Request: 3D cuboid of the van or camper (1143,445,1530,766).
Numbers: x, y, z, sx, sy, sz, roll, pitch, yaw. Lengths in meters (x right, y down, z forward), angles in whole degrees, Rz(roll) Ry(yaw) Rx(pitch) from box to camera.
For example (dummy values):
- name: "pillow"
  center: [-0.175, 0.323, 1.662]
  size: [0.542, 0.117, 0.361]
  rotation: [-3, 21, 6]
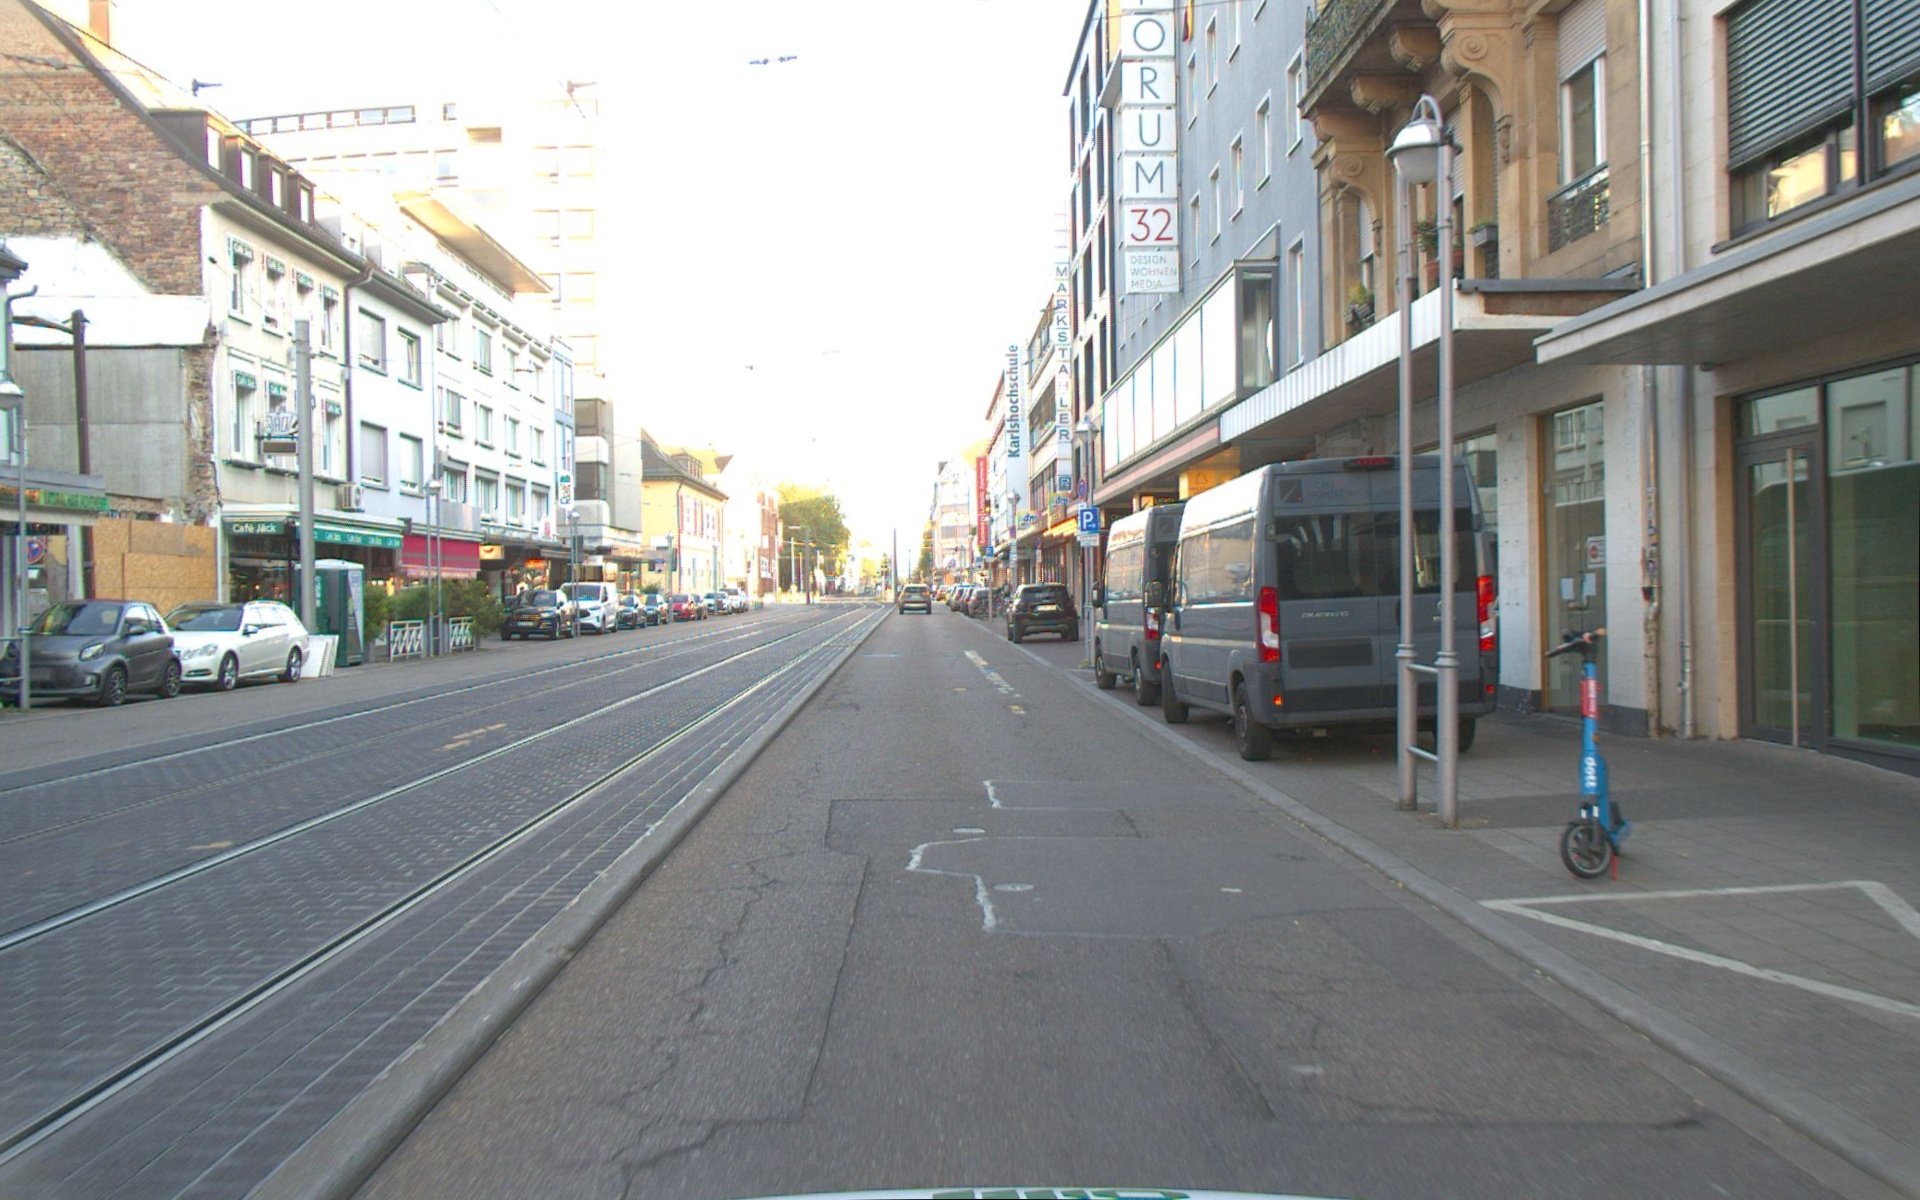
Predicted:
- name: "van or camper"
  center: [3.373, 0.012, 16.386]
  size: [2.145, 2.468, 6.130]
  rotation: [-3, 1, -2]

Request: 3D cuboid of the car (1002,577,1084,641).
- name: "car"
  center: [2.234, 0.207, 45.564]
  size: [1.904, 1.571, 4.544]
  rotation: [-3, 1, -1]

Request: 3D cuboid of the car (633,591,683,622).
- name: "car"
  center: [-14.261, 0.277, 78.188]
  size: [1.755, 1.362, 3.890]
  rotation: [1, 0, -2]

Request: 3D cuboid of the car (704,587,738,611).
- name: "car"
  center: [-15.339, -0.063, 106.437]
  size: [1.755, 1.475, 3.890]
  rotation: [1, 0, -2]

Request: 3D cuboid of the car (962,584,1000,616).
- name: "car"
  center: [1.103, -0.032, 89.804]
  size: [1.904, 1.571, 4.544]
  rotation: [-3, 1, -1]

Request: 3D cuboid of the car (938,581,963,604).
- name: "car"
  center: [-0.779, -0.614, 131.712]
  size: [1.904, 1.732, 4.544]
  rotation: [-3, 1, -1]

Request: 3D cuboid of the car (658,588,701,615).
- name: "car"
  center: [-14.904, 0.083, 87.941]
  size: [1.755, 1.362, 3.890]
  rotation: [1, 0, -2]

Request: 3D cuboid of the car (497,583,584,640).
- name: "car"
  center: [-14.194, 0.353, 56.254]
  size: [1.878, 1.793, 4.429]
  rotation: [1, 0, -1]

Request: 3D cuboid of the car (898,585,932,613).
- name: "car"
  center: [-2.562, -0.072, 95.852]
  size: [1.904, 1.572, 4.544]
  rotation: [0, 1, -1]

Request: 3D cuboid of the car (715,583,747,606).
- name: "car"
  center: [-15.546, -0.373, 112.475]
  size: [1.755, 1.475, 3.890]
  rotation: [1, 0, -2]

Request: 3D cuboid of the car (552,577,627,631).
- name: "car"
  center: [-14.294, 0.125, 64.085]
  size: [1.878, 1.969, 4.840]
  rotation: [1, 0, -1]

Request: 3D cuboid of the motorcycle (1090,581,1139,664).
- name: "motorcycle"
  center: [2.857, 0.391, 30.454]
  size: [0.795, 1.441, 2.006]
  rotation: [-2, 1, 7]

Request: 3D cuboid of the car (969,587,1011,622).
- name: "car"
  center: [1.498, 0.208, 83.597]
  size: [1.904, 1.571, 4.544]
  rotation: [-3, 1, -1]

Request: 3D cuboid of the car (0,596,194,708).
- name: "car"
  center: [-12.978, 0.740, 24.983]
  size: [1.559, 1.531, 2.811]
  rotation: [1, 0, -2]

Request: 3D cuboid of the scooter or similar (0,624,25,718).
- name: "scooter or similar"
  center: [-13.023, 0.919, 21.726]
  size: [1.287, 1.226, 0.294]
  rotation: [1, 0, -1]

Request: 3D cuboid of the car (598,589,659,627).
- name: "car"
  center: [-14.374, 0.314, 71.887]
  size: [1.879, 1.547, 4.628]
  rotation: [1, 0, -2]

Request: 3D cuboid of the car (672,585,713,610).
- name: "car"
  center: [-15.060, -0.163, 93.260]
  size: [1.755, 1.362, 3.890]
  rotation: [1, 0, -2]

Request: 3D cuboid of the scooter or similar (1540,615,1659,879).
- name: "scooter or similar"
  center: [3.372, 0.731, 8.679]
  size: [0.347, 1.245, 1.113]
  rotation: [-3, 0, 31]

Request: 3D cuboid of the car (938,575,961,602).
- name: "car"
  center: [-0.915, -0.990, 143.557]
  size: [1.904, 2.183, 4.544]
  rotation: [-3, 1, -1]

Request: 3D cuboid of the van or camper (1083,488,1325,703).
- name: "van or camper"
  center: [3.148, -0.078, 22.690]
  size: [2.145, 2.468, 5.515]
  rotation: [-3, 1, -3]

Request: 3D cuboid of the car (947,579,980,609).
- name: "car"
  center: [0.191, -0.398, 105.091]
  size: [1.904, 1.732, 4.544]
  rotation: [-3, 1, -1]

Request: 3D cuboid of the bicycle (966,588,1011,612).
- name: "bicycle"
  center: [1.371, 0.016, 79.907]
  size: [2.077, 1.109, 0.591]
  rotation: [-1, 0, -4]

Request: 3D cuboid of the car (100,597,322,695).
- name: "car"
  center: [-13.190, 0.742, 29.497]
  size: [1.812, 1.531, 4.840]
  rotation: [1, 0, -1]
